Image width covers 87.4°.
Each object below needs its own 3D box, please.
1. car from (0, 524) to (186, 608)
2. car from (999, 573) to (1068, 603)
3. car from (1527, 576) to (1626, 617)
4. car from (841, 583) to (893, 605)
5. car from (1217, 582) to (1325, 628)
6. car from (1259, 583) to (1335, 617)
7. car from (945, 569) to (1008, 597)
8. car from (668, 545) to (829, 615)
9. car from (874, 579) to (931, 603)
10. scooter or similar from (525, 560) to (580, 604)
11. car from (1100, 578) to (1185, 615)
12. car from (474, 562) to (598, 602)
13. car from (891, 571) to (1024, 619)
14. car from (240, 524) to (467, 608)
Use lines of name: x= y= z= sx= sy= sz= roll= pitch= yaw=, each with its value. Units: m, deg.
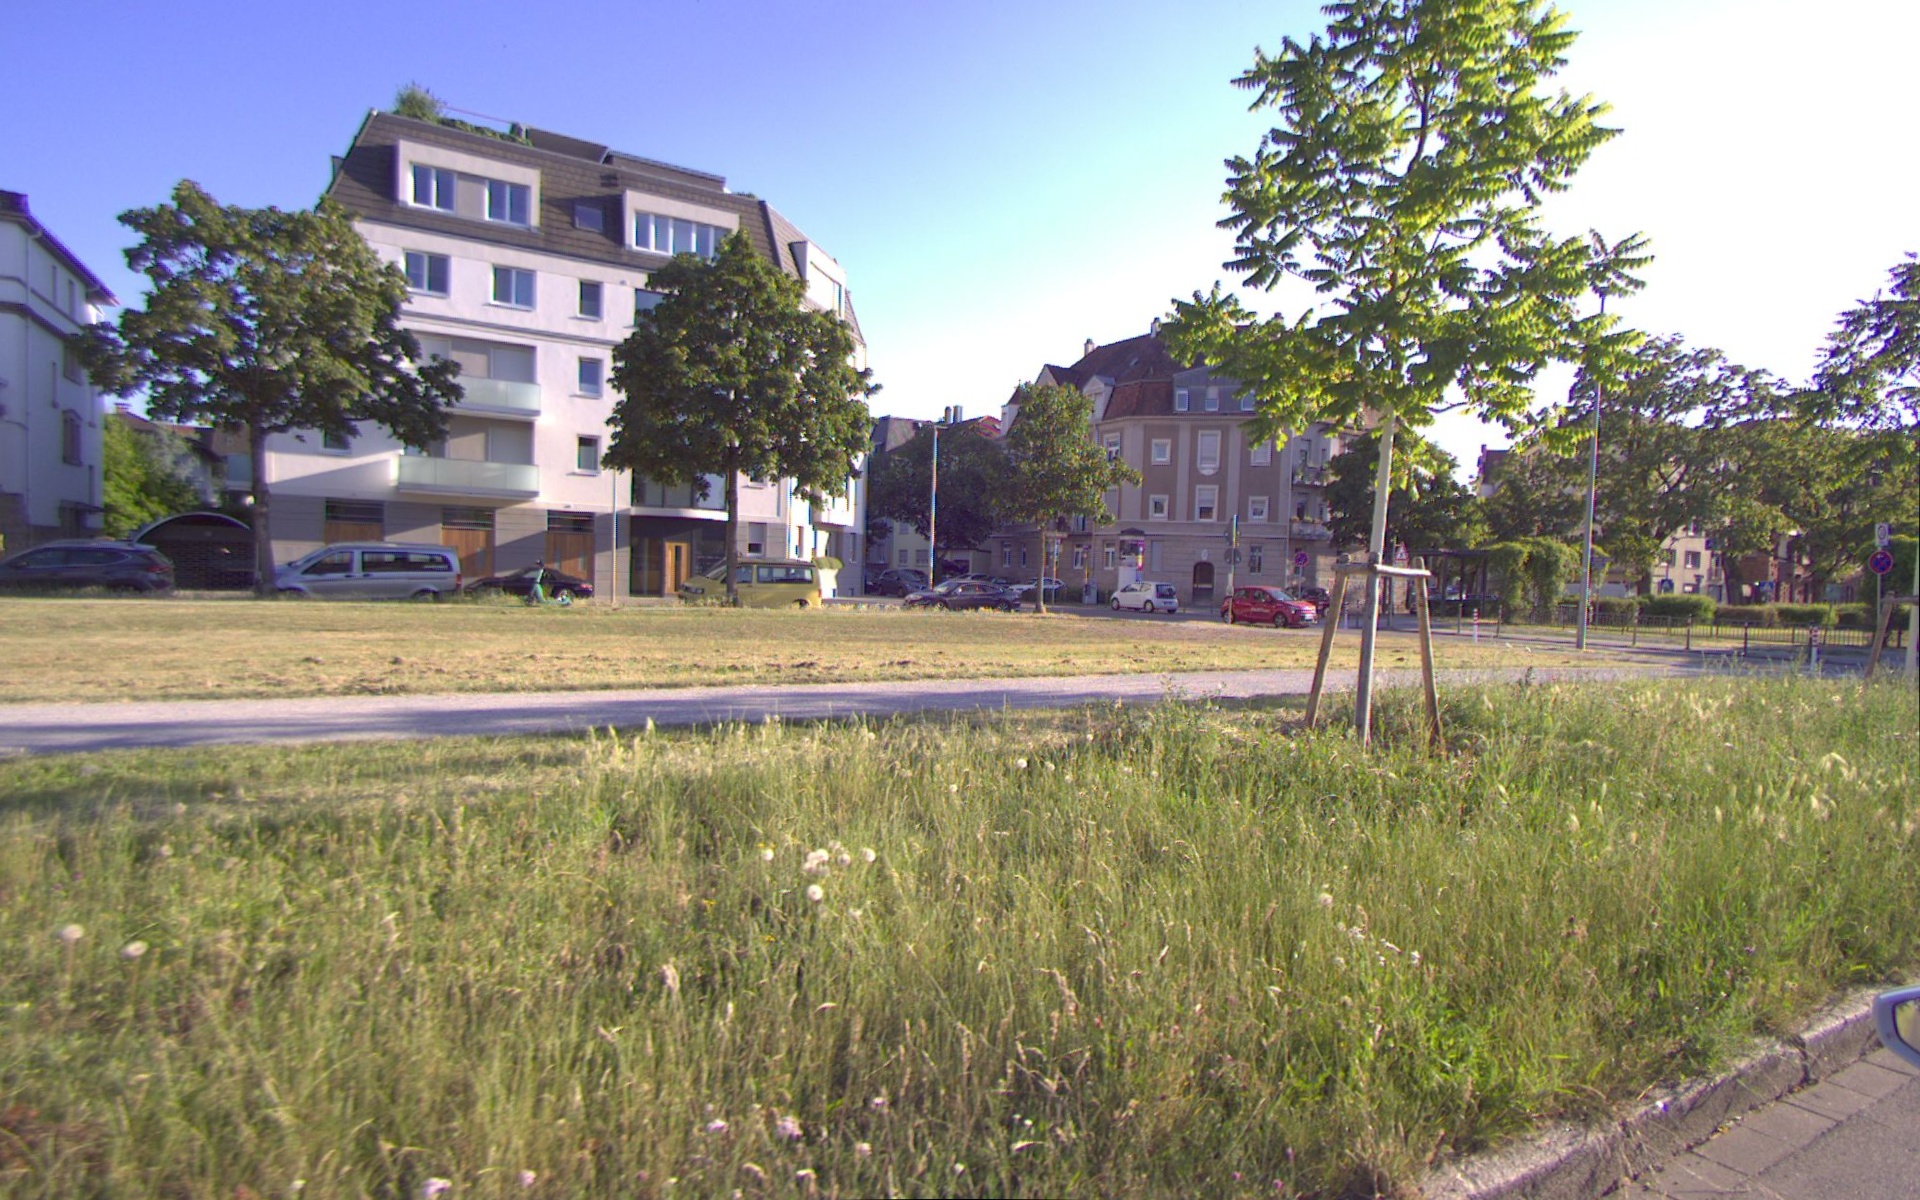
car: x=-22.448 y=-0.814 z=25.081 sx=4.637 sy=1.852 sz=1.919 roll=2 pitch=-2 yaw=-31
car: x=4.570 y=-0.695 z=62.381 sx=4.027 sy=1.658 sz=1.689 roll=2 pitch=-2 yaw=-29
car: x=46.360 y=-0.301 z=75.728 sx=6.202 sy=2.757 sz=1.999 roll=3 pitch=2 yaw=30
car: x=-5.755 y=-0.391 z=61.632 sx=1.674 sy=1.235 sz=3.968 roll=1 pitch=1 yaw=-30
car: x=11.618 y=0.155 z=37.719 sx=1.669 sy=1.501 sz=3.559 roll=-1 pitch=4 yaw=-36
car: x=18.891 y=0.019 z=56.307 sx=4.242 sy=1.729 sz=1.636 roll=2 pitch=-2 yaw=-29
car: x=1.142 y=-1.151 z=68.656 sx=4.029 sy=1.696 sz=1.688 roll=2 pitch=-2 yaw=-31
car: x=-7.177 y=-0.617 z=34.210 sx=4.993 sy=2.084 sz=1.984 roll=2 pitch=-2 yaw=-30
car: x=-3.321 y=-0.539 z=57.164 sx=1.674 sy=1.235 sz=3.968 roll=1 pitch=1 yaw=-30
scooter or similar: x=-10.955 y=-0.472 z=27.001 sx=1.285 sy=1.142 sz=0.389 roll=1 pitch=3 yaw=-38
car: x=8.716 y=-0.131 z=48.215 sx=1.977 sy=1.617 sz=3.874 roll=2 pitch=-2 yaw=-31
car: x=-15.390 y=-0.660 z=36.493 sx=4.011 sy=1.295 sz=1.985 roll=1 pitch=2 yaw=-28
car: x=-0.085 y=-0.144 z=38.750 sx=4.769 sy=1.658 sz=1.975 roll=2 pitch=-2 yaw=-29
car: x=-17.121 y=-0.868 z=28.562 sx=5.316 sy=2.027 sz=2.006 roll=2 pitch=-2 yaw=-34
